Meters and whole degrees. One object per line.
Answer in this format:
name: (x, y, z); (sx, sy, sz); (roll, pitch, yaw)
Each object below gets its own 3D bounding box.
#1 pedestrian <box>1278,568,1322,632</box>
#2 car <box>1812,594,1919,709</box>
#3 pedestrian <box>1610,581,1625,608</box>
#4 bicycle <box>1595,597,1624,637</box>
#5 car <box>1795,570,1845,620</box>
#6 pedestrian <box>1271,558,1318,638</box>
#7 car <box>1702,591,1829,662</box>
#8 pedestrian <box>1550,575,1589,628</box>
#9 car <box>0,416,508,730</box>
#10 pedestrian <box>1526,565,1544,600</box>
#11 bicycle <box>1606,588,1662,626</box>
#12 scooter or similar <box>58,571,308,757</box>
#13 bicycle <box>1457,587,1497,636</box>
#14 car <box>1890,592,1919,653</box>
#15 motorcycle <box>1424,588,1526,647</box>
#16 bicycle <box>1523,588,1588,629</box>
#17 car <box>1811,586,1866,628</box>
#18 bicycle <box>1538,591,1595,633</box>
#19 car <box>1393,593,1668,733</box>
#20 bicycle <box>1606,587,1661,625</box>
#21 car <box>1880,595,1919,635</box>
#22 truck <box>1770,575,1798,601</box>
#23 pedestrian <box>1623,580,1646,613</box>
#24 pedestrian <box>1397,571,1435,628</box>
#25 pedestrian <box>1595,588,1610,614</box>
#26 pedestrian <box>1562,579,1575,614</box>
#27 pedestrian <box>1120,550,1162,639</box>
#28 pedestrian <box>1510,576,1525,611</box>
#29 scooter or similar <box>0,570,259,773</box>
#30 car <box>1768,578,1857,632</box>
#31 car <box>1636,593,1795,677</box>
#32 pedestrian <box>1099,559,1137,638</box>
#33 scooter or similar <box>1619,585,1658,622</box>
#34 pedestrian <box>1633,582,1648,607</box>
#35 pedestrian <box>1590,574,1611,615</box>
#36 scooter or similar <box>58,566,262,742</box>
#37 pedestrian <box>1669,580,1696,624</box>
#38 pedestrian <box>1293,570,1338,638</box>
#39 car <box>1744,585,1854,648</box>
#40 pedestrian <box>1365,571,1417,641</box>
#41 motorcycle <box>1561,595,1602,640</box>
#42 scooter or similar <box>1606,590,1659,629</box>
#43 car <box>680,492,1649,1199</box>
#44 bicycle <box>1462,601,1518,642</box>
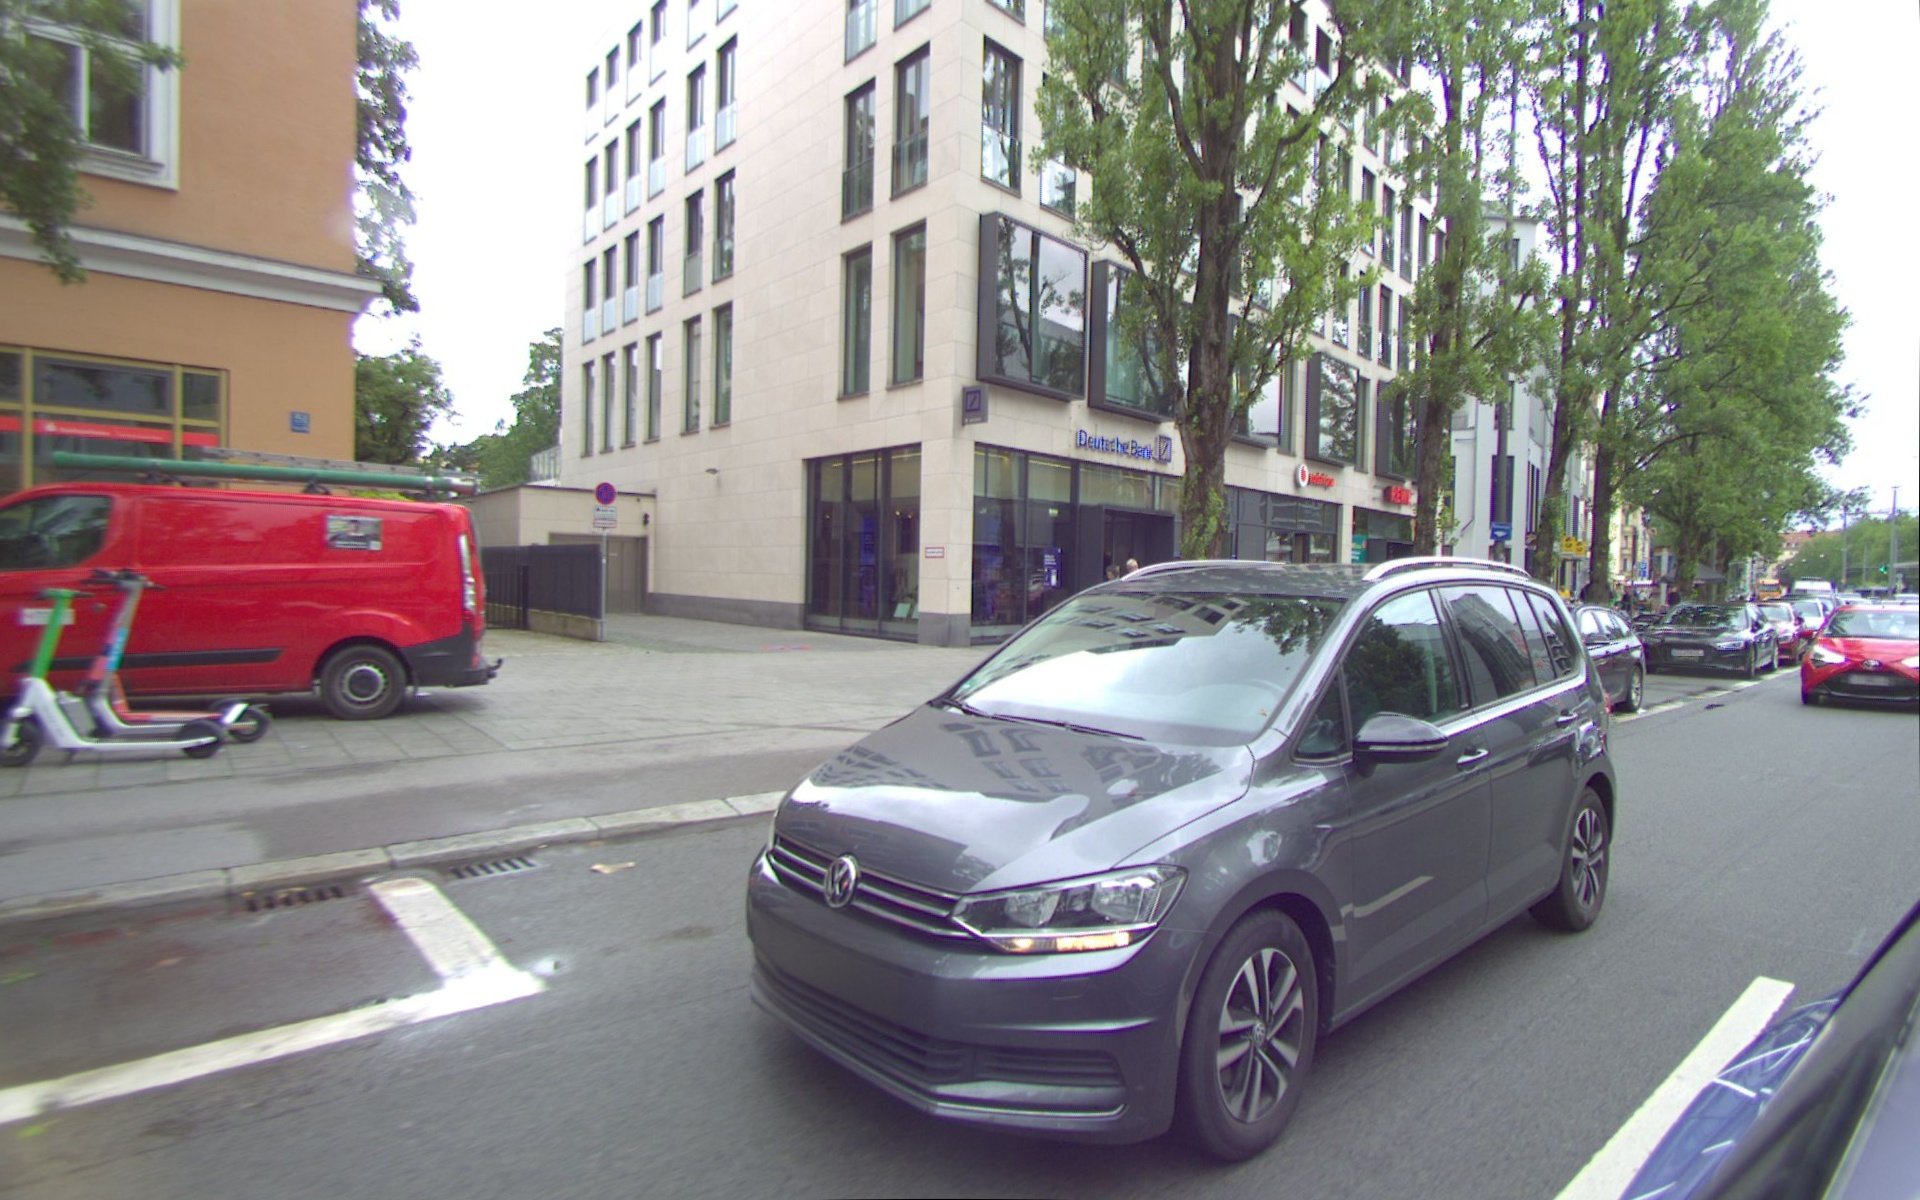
pedestrian: (8.892, -0.008, 26.466); (0.706, 1.641, 0.794); (0, 2, -44)
car: (13.765, 0.677, 14.840); (1.666, 1.464, 3.538); (1, 2, 45)
pedestrian: (41.791, -0.342, 64.305); (0.689, 1.669, 0.787); (2, 1, 37)
bicycle: (18.836, 0.469, 29.357); (0.639, 1.076, 1.751); (3, 2, 32)
car: (50.467, -0.358, 59.463); (1.990, 2.775, 5.478); (0, 1, 38)
pedestrian: (7.679, -0.048, 23.259); (0.668, 1.794, 0.798); (1, 1, -12)
car: (19.375, 0.555, 24.266); (1.931, 1.468, 4.728); (3, 2, 44)
pedestrian: (19.410, 0.046, 32.235); (0.600, 1.639, 0.796); (1, 2, -26)
car: (-6.690, -0.235, 8.981); (4.726, 2.356, 1.910); (1, 2, -28)
pedestrian: (27.244, -0.827, 47.924); (0.496, 1.644, 0.550); (0, 1, -19)
bicycle: (22.772, 0.226, 34.188); (1.478, 1.222, 0.528); (3, 2, 42)
scooter or similar: (-5.622, 0.439, 7.401); (1.377, 1.247, 0.488); (1, 3, -28)
bicycle: (13.225, 0.276, 25.874); (0.455, 1.202, 1.689); (3, 2, 42)
car: (25.506, 0.566, 26.386); (1.734, 1.488, 3.990); (2, 1, 41)
motorcycle: (11.866, 0.387, 23.385); (1.945, 1.267, 0.637); (2, 2, 14)
bicycle: (18.872, 0.258, 32.105); (0.442, 1.186, 1.772); (1, 2, -26)
car: (38.462, 0.275, 44.385); (1.725, 1.707, 4.344); (1, 1, 40)
bicycle: (18.143, 0.359, 30.282); (1.424, 1.204, 0.549); (1, 2, -11)
car: (7.361, 0.661, 12.865); (4.357, 1.411, 1.736); (0, 3, -42)
bicycle: (23.094, 0.181, 34.709); (1.478, 1.222, 0.528); (3, 2, 42)
car: (46.014, 0.704, 49.049); (1.992, 1.771, 3.941); (1, 1, 41)
truck: (115.343, -1.670, 141.756); (2.528, 3.531, 7.649); (2, 2, 36)
pedestrian: (33.949, -0.178, 50.914); (0.799, 1.657, 1.008); (3, 2, 41)
pedestrian: (15.454, -0.030, 34.311); (0.923, 1.892, 0.818); (0, 2, -44)
pedestrian: (41.525, 0.060, 65.412); (0.689, 1.604, 0.762); (2, 1, 37)
pedestrian: (28.960, -0.166, 48.160); (0.488, 1.654, 0.563); (2, 2, 31)
pedestrian: (3.413, -0.108, 19.091); (0.546, 1.658, 0.553); (1, 1, -15)
pedestrian: (26.081, -0.322, 47.335); (0.543, 1.644, 0.504); (0, 1, 22)
scooter or similar: (-5.640, 0.451, 6.814); (1.446, 1.247, 0.528); (1, 3, -28)
car: (29.102, 0.113, 34.511); (4.574, 1.721, 1.926); (-1, 2, -45)
car: (15.223, 0.611, 20.311); (4.352, 1.446, 1.849); (0, 2, -44)
pedestrian: (3.044, -0.032, 19.533); (0.536, 1.509, 0.505); (1, 1, -15)
scooter or similar: (23.702, 0.123, 35.344); (1.050, 1.241, 0.374); (3, 2, 42)
pedestrian: (43.813, -0.357, 65.149); (0.681, 1.577, 0.740); (2, 1, 39)
pedestrian: (31.338, -0.273, 49.539); (0.646, 1.948, 0.912); (3, 2, 41)
scooter or similar: (-6.075, 0.389, 7.739); (1.144, 1.247, 0.488); (1, 3, -28)
pedestrian: (28.113, 0.070, 39.395); (0.713, 1.696, 0.772); (3, 2, 41)
pedestrian: (8.918, 0.085, 25.361); (0.736, 1.641, 0.825); (3, 2, 44)
car: (23.250, 0.409, 27.985); (4.727, 1.519, 1.812); (0, 3, -44)
pedestrian: (10.333, 0.128, 24.267); (0.834, 1.596, 0.924); (3, 2, 42)
motorcycle: (17.326, 0.472, 28.235); (0.680, 1.170, 1.631); (2, 2, 22)
scooter or similar: (22.482, 0.305, 33.850); (1.433, 1.215, 0.307); (3, 2, 41)
car: (1.179, 0.569, 4.078); (4.113, 1.634, 1.763); (0, 1, -43)
bicycle: (12.974, 0.513, 24.753); (1.729, 0.952, 0.435); (1, 2, -35)
